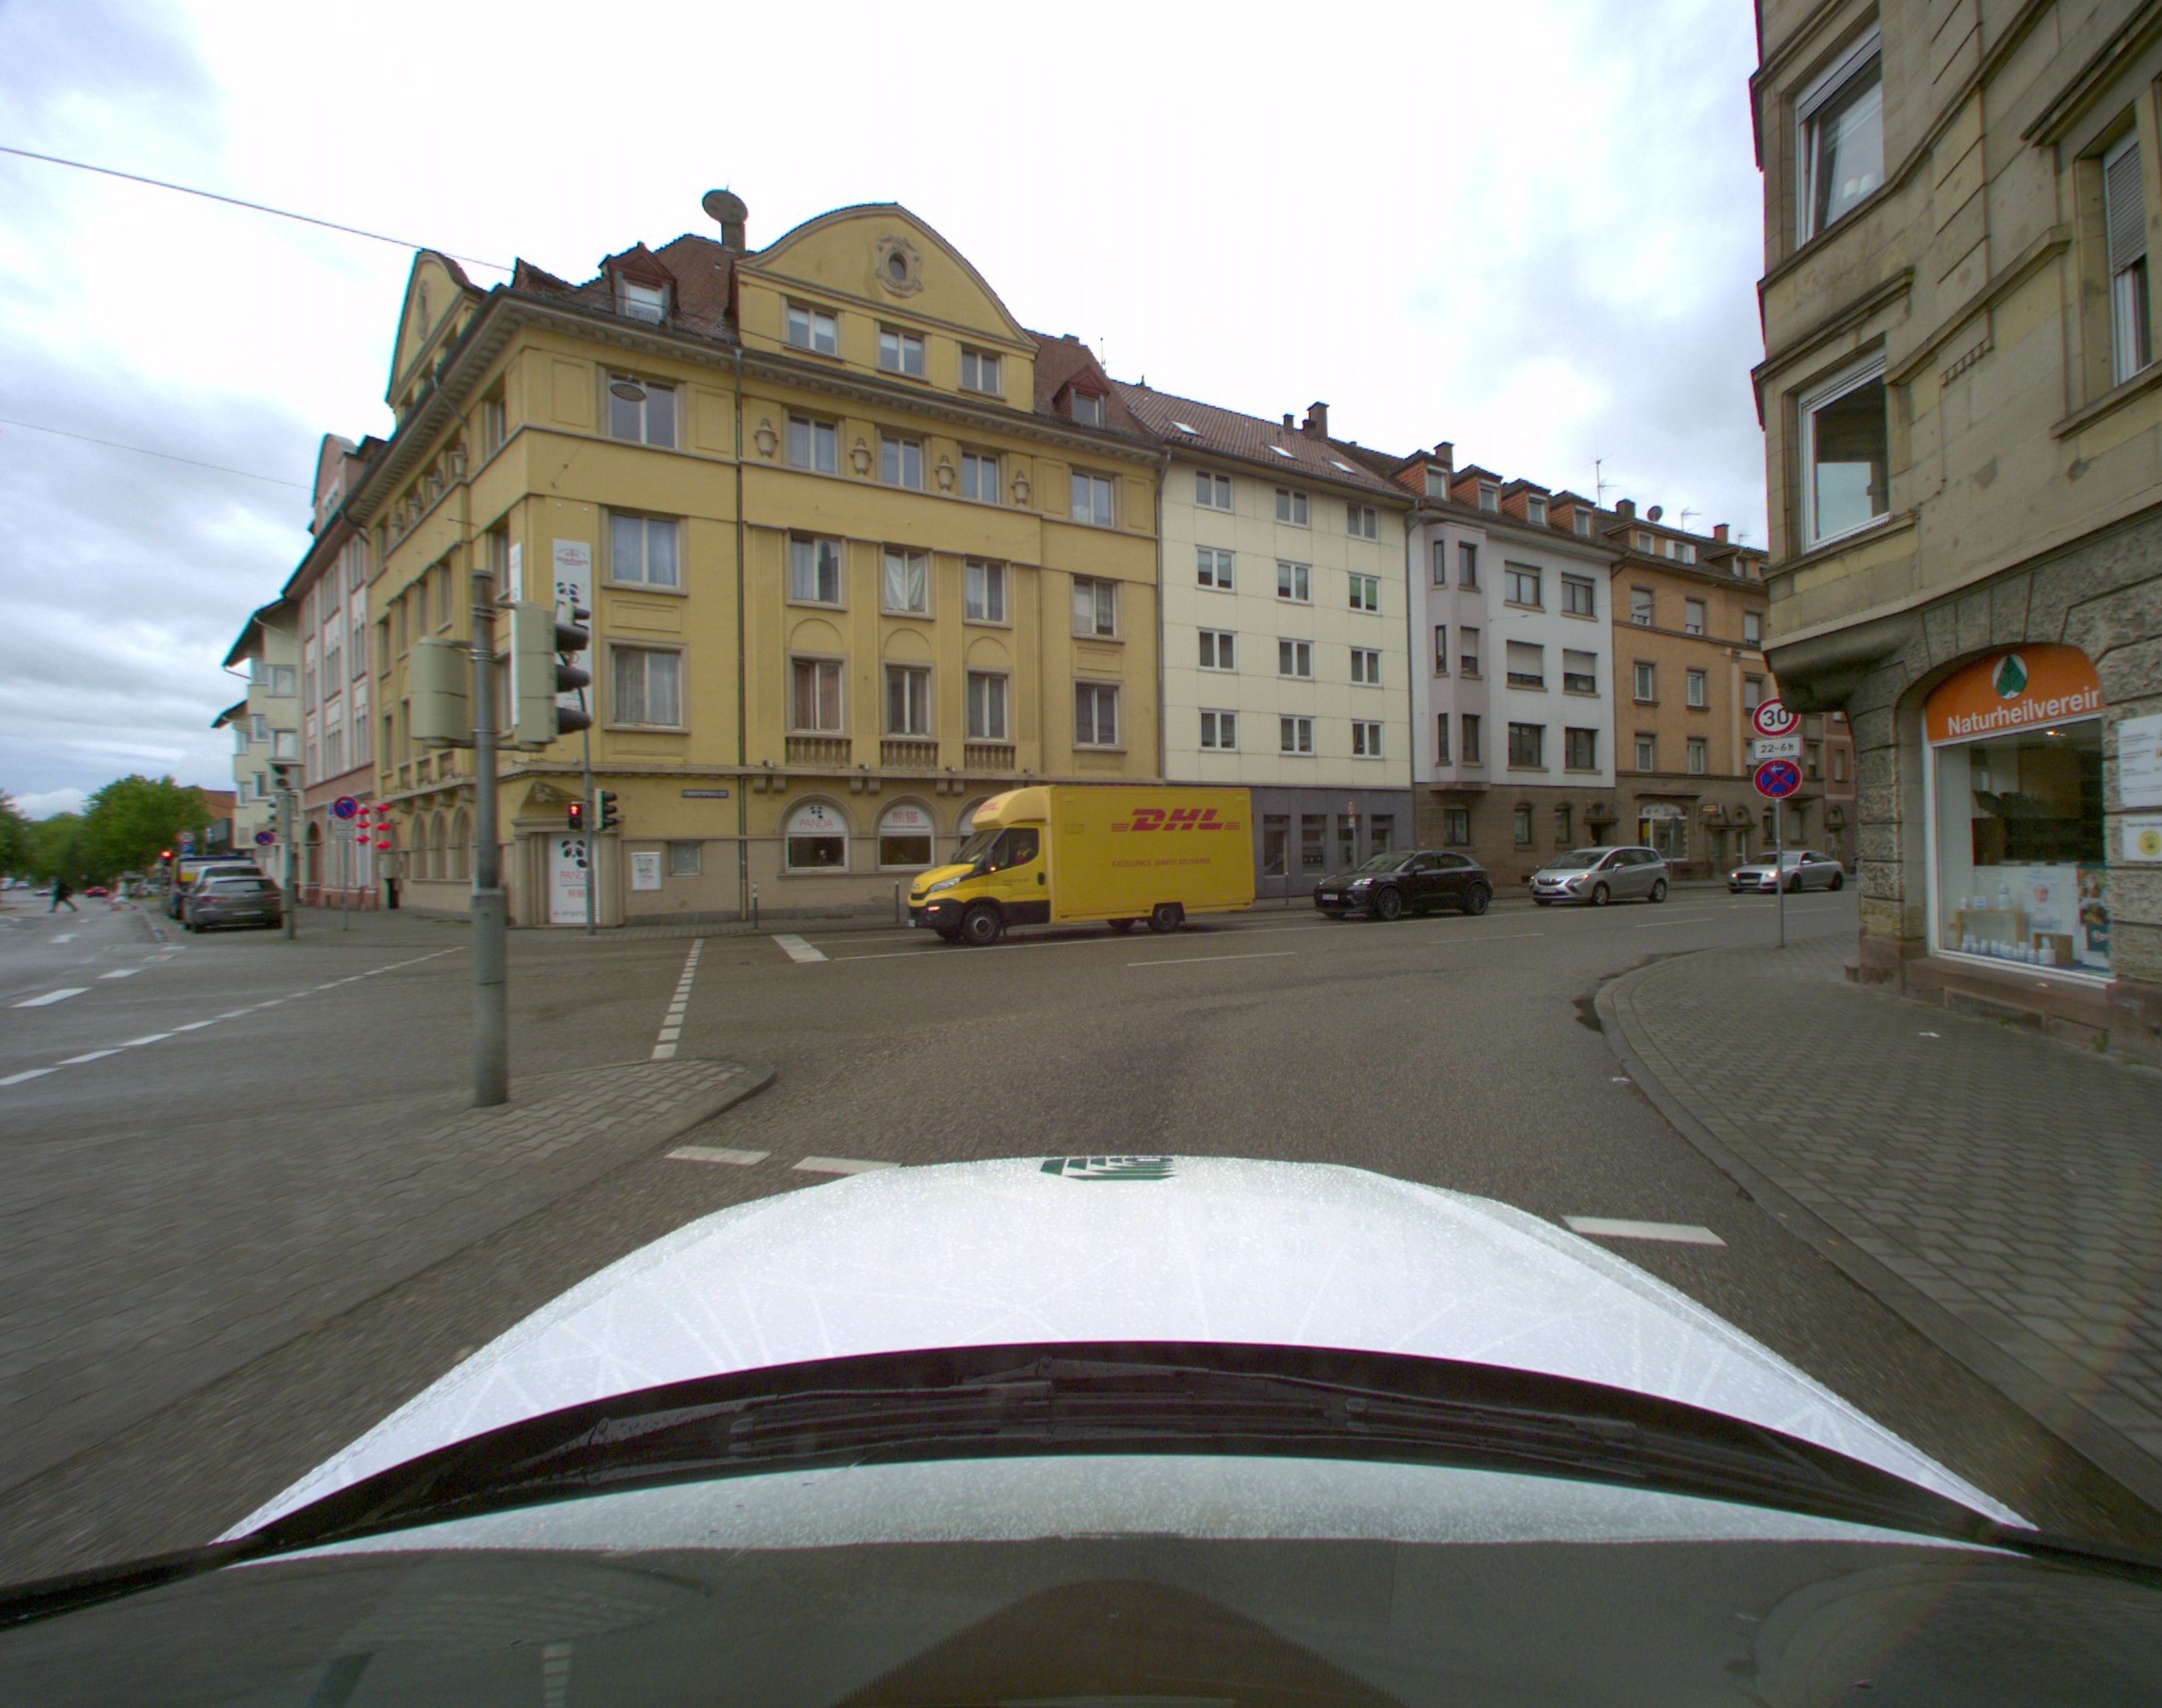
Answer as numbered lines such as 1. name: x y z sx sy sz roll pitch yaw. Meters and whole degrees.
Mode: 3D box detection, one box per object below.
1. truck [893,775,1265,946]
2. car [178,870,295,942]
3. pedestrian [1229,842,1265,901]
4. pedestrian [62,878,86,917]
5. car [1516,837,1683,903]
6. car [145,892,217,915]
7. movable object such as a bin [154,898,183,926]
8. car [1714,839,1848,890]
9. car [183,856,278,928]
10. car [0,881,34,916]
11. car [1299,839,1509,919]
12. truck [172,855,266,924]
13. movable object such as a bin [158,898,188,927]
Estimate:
1. truck: 0.108 0.069 16.102 7.129 2.851 2.064 -1 -1 -27
2. car: -22.858 1.314 22.001 3.949 1.637 1.896 0 1 40
3. pedestrian: 5.154 0.547 25.303 0.794 1.791 0.756 -1 -1 -26
4. pedestrian: -50.508 2.171 40.846 0.782 1.937 0.729 -2 -1 37
5. car: 14.788 0.419 23.218 4.419 1.685 1.934 -1 -1 -25
6. car: -81.992 4.456 74.244 1.975 2.014 4.024 0 -2 29
7. movable object such as a bin: -41.363 2.645 36.931 0.971 1.232 0.755 -1 -5 40
8. car: 23.889 0.329 27.786 4.242 1.573 1.933 -1 -1 -26
9. car: -27.810 1.188 26.605 3.948 2.180 1.779 -1 -1 39
10. car: -65.698 2.694 49.723 3.948 2.014 2.013 -2 -1 40
11. car: 7.820 0.542 19.653 4.836 1.685 1.983 -1 -1 -27
12. truck: -32.147 1.276 30.342 4.182 2.389 2.045 -1 -1 39
13. movable object such as a bin: -40.222 2.577 36.069 0.971 1.232 0.755 -1 -5 40
